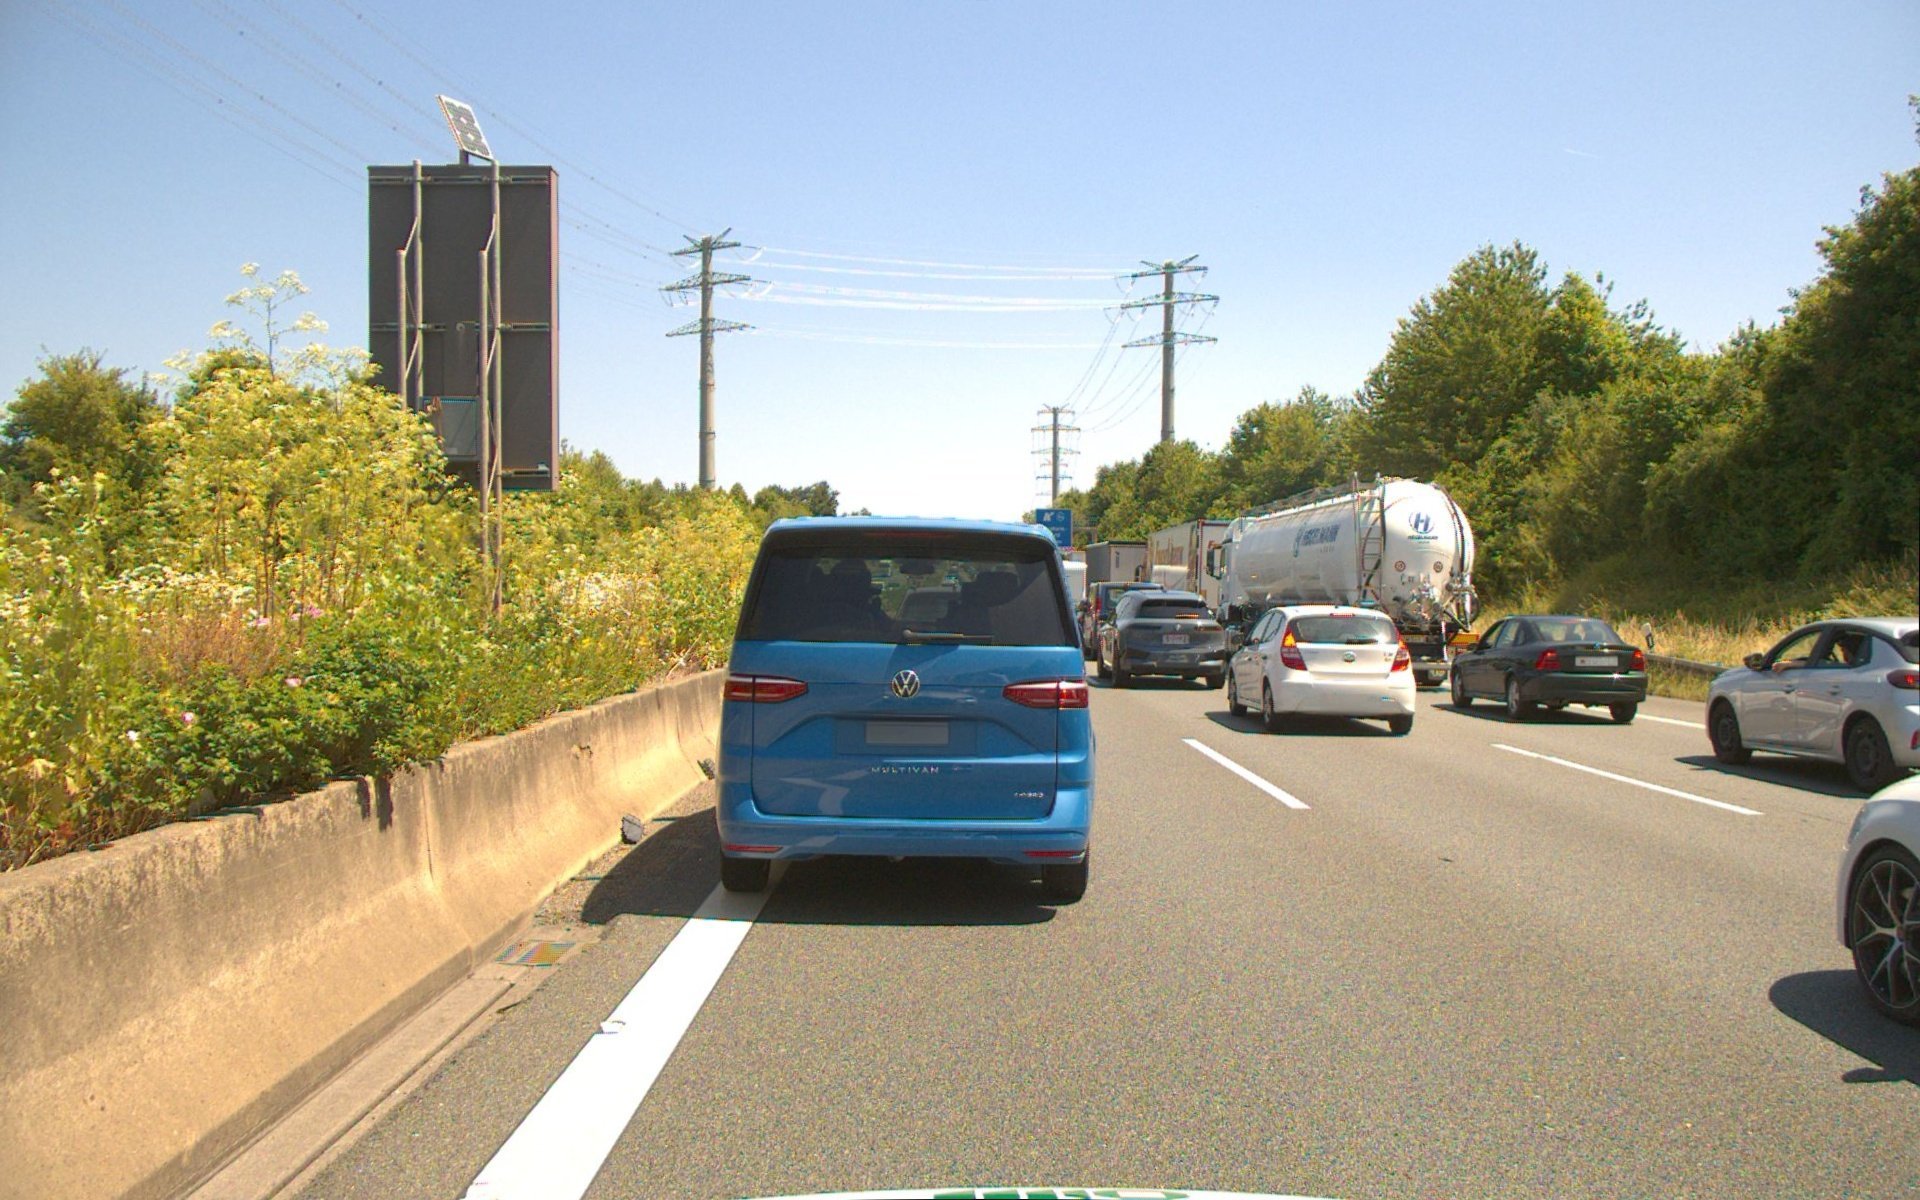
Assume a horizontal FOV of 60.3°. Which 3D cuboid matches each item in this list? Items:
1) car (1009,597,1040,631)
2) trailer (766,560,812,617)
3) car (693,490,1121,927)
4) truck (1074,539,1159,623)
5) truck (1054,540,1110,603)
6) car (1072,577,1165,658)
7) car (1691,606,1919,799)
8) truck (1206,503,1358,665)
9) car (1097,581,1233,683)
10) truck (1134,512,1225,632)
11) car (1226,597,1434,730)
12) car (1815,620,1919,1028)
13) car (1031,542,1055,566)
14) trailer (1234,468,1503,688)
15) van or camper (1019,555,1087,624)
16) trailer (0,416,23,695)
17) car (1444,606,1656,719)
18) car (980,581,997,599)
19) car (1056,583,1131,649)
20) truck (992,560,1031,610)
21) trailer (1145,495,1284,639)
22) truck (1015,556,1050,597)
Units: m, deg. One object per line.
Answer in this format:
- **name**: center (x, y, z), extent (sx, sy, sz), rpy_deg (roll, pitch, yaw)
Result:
- **car**: center (3.923, 0.858, 100.651), extent (1.798, 2.033, 4.000), rpy_deg (-1, -1, 1)
- **trailer**: center (-15.905, -0.984, 154.143), extent (3.254, 5.136, 9.590), rpy_deg (0, 0, 0)
- **car**: center (-0.246, 0.480, 9.431), extent (1.881, 1.919, 4.000), rpy_deg (1, 0, 0)
- **truck**: center (7.717, -0.829, 83.849), extent (2.944, 3.832, 15.712), rpy_deg (0, 0, 0)
- **truck**: center (7.923, -1.767, 108.873), extent (2.836, 3.832, 13.344), rpy_deg (0, 0, 0)
- **car**: center (4.047, 0.449, 42.823), extent (1.884, 1.959, 4.234), rpy_deg (-1, -1, -1)
- **car**: center (8.411, 0.817, 15.069), extent (1.695, 1.468, 4.028), rpy_deg (0, 1, -1)
- **truck**: center (8.154, -0.380, 42.560), extent (2.736, 3.903, 5.571), rpy_deg (0, 0, -1)
- **car**: center (3.698, 0.581, 30.627), extent (1.958, 1.745, 4.625), rpy_deg (0, -1, 0)
- **truck**: center (8.609, -1.068, 65.383), extent (2.853, 4.547, 5.141), rpy_deg (0, 0, -1)
- **car**: center (4.538, 0.747, 20.850), extent (1.779, 1.511, 4.000), rpy_deg (0, -1, 1)
- **car**: center (4.301, 0.785, 4.517), extent (1.712, 1.468, 4.313), rpy_deg (0, -1, 0)
- **car**: center (7.547, -4.163, 151.123), extent (1.953, 2.049, 4.000), rpy_deg (0, 0, 0)
- **trailer**: center (8.227, -0.387, 35.176), extent (2.705, 3.912, 11.484), rpy_deg (0, 0, -1)
- **van or camper**: center (4.299, -0.434, 77.510), extent (2.896, 3.075, 7.103), rpy_deg (0, 0, 1)
- **trailer**: center (-14.671, -0.592, 19.062), extent (3.118, 3.827, 8.199), rpy_deg (0, 0, -1)
- **car**: center (8.303, 0.843, 23.638), extent (1.607, 1.441, 3.988), rpy_deg (-1, -1, 0)
- **car**: center (3.365, -1.188, 195.983), extent (1.953, 2.163, 3.999), rpy_deg (0, 0, -1)
- **car**: center (4.167, 0.507, 52.096), extent (1.884, 1.959, 4.234), rpy_deg (-1, -1, -1)
- **truck**: center (4.007, -1.092, 131.302), extent (2.836, 3.832, 10.140), rpy_deg (0, 0, 0)
- **trailer**: center (8.718, -1.042, 58.358), extent (2.853, 4.547, 12.151), rpy_deg (0, 0, -1)
- **truck**: center (8.459, -2.712, 194.591), extent (3.494, 4.596, 10.291), rpy_deg (0, 0, -1)
